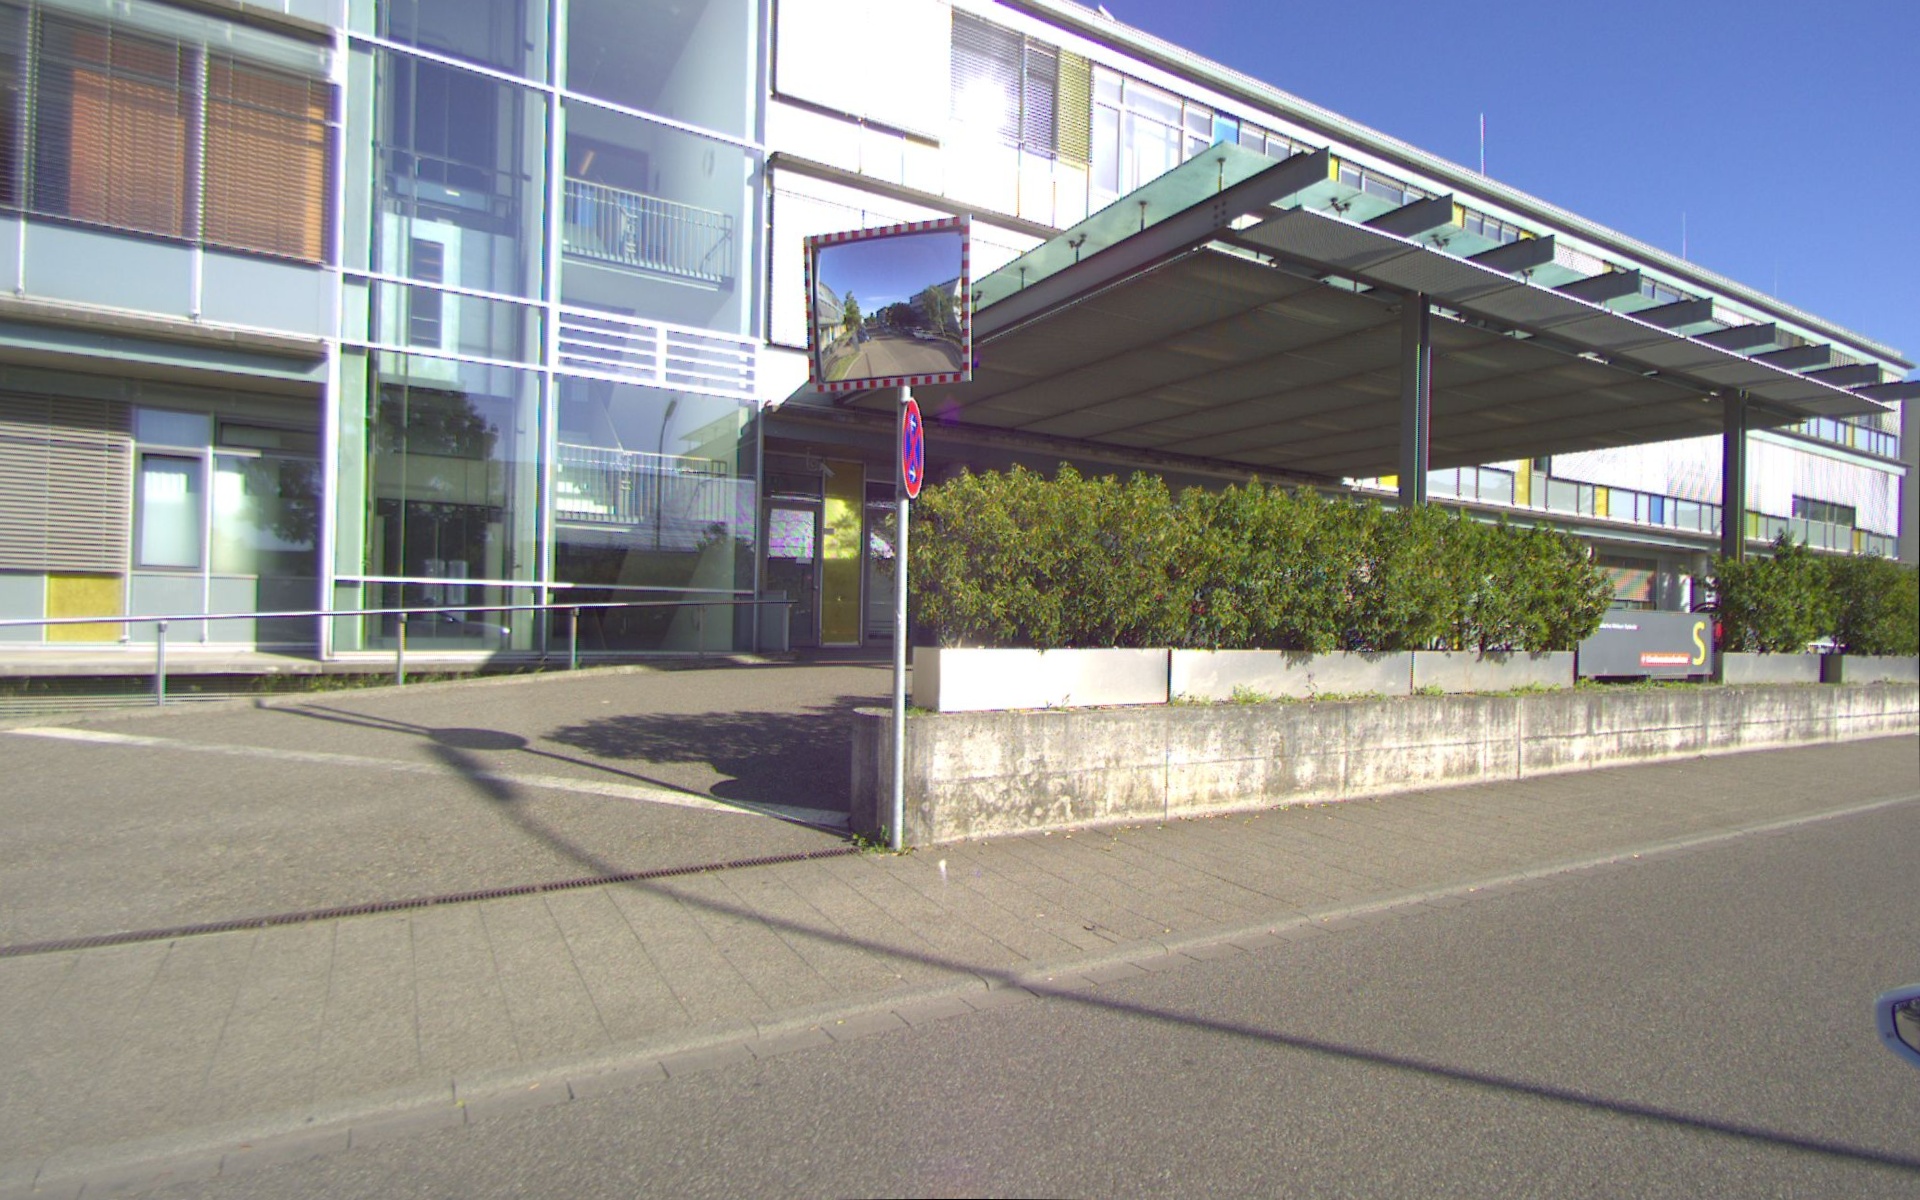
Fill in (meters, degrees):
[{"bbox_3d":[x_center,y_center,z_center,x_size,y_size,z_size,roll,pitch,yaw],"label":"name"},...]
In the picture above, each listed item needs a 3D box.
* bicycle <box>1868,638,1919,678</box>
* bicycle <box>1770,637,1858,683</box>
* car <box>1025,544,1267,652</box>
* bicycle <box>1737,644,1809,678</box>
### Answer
[{"bbox_3d":[27.745,1.701,29.378,0.529,1.136,1.698,1,-1,-24],"label":"bicycle"},{"bbox_3d":[22.428,1.564,26.402,0.532,1.138,1.701,2,-1,-39],"label":"bicycle"},{"bbox_3d":[3.748,0.026,19.982,4.657,1.916,1.910,2,-1,-31],"label":"car"},{"bbox_3d":[25.909,1.944,32.047,0.530,1.007,1.706,1,-1,-31],"label":"bicycle"}]
